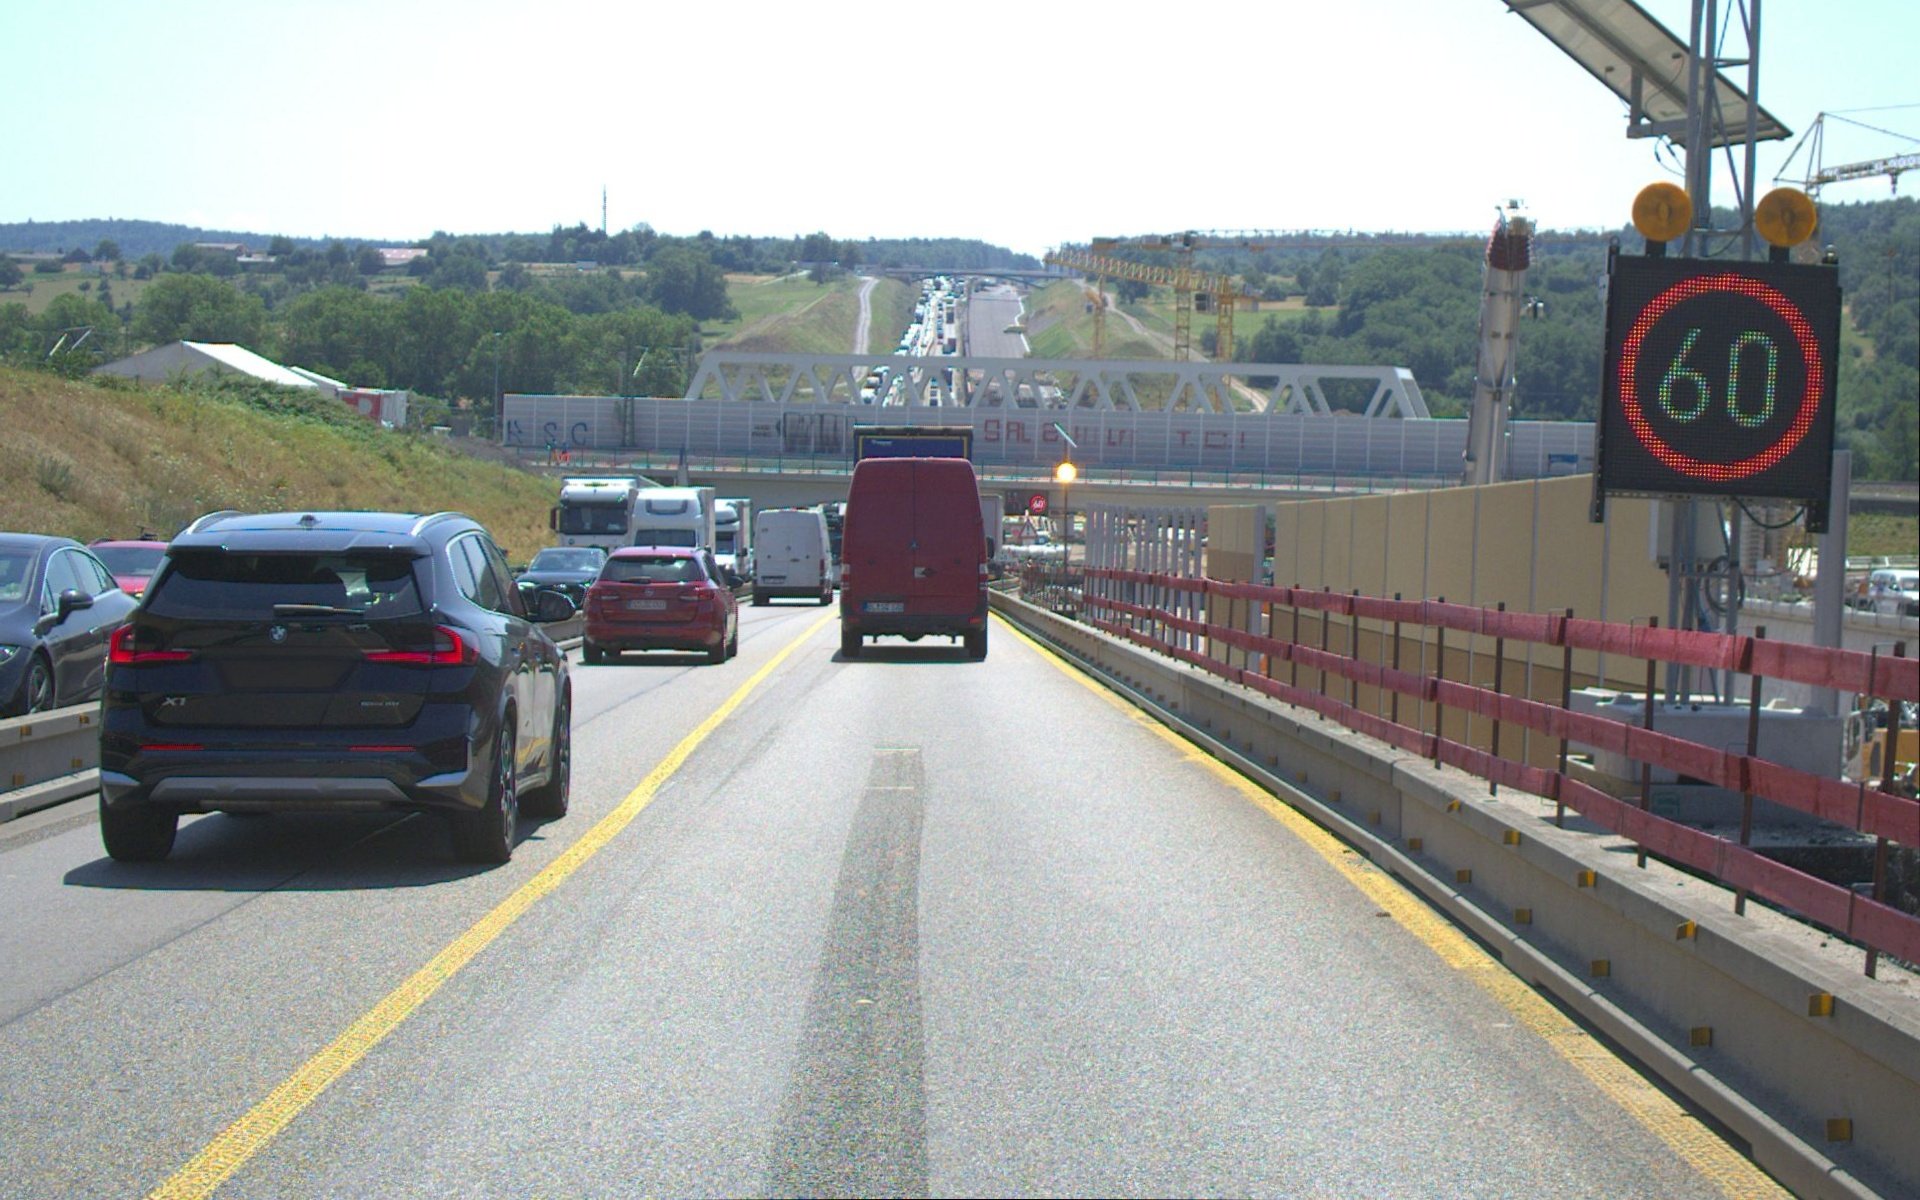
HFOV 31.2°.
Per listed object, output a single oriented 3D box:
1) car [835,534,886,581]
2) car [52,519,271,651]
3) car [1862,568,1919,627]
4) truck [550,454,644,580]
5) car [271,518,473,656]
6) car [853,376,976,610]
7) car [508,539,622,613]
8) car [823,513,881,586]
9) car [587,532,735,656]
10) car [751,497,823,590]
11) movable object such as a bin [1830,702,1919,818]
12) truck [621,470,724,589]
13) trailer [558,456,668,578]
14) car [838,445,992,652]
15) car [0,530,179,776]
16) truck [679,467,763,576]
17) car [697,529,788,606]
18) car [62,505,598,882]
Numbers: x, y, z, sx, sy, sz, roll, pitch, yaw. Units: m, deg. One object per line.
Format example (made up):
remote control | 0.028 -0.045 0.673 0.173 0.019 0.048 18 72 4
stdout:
car | -3.615 -1.567 125.495 1.776 1.664 4.029 0 1 -1
car | -10.242 -0.226 44.439 1.684 1.580 5.127 1 1 -1
car | 33.818 -0.108 122.457 1.805 2.007 4.826 1 1 -3
truck | -12.022 -2.741 114.086 2.698 4.036 3.955 1 1 -1
car | -7.517 -0.199 44.330 1.845 1.660 4.689 1 1 -1
car | -1.036 -2.391 78.862 2.621 5.015 10.397 0 1 -1
car | -7.914 -0.510 69.203 1.797 1.422 4.950 0 1 -1
car | -3.496 -1.657 111.845 1.776 2.322 4.206 0 1 -1
car | -3.776 -0.111 44.001 1.775 1.512 4.207 0 1 -3
car | -4.601 -1.512 91.773 1.776 2.433 4.206 0 1 -1
movable object such as a bin | 24.251 3.984 85.424 3.163 2.437 7.895 3 1 0
truck | -8.460 -2.071 101.917 2.538 3.362 7.038 1 1 -1
trailer | -12.152 -2.883 121.385 2.698 4.011 13.703 1 1 -1
car | -0.614 -0.710 46.859 1.988 2.681 4.624 0 1 -1
car | -6.900 0.270 23.630 1.955 1.494 5.090 1 1 -1
truck | -8.554 -2.815 123.574 2.589 3.745 7.359 1 1 -1
car | -4.779 -0.743 75.986 1.839 1.648 4.165 0 1 -1
car | -2.935 0.360 16.980 1.879 1.612 4.499 0 1 -1
